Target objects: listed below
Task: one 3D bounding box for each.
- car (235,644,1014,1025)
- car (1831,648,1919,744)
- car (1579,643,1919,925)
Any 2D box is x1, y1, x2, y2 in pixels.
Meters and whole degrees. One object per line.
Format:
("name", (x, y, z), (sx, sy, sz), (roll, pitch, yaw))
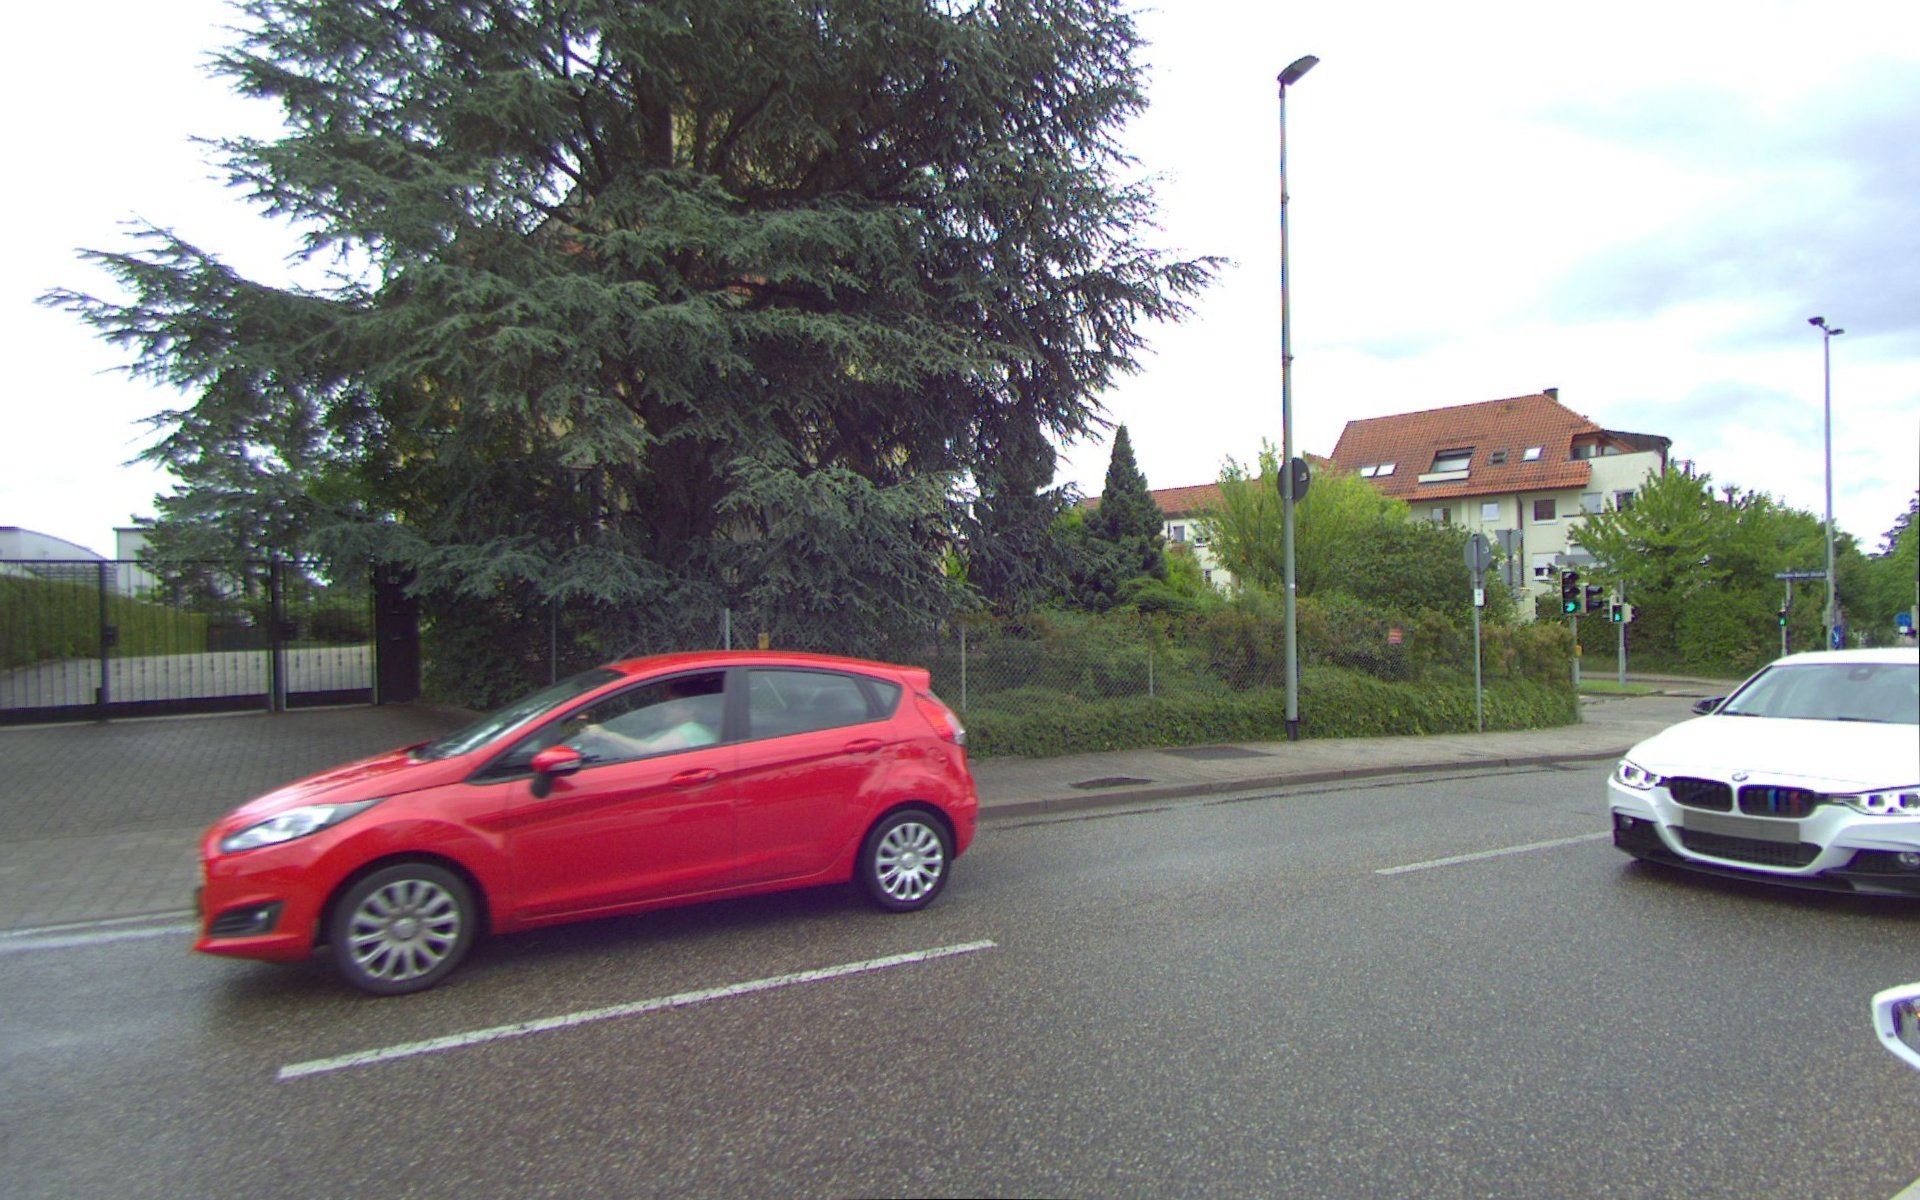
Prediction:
("car", (-1.668, 1.001, 5.599), (3.659, 1.475, 1.624), (1, -3, -31))
("car", (16.013, 1.482, 16.090), (4.496, 1.403, 1.766), (1, -2, -31))
("car", (6.312, 0.997, 6.775), (4.357, 1.403, 1.741), (1, -3, -29))
